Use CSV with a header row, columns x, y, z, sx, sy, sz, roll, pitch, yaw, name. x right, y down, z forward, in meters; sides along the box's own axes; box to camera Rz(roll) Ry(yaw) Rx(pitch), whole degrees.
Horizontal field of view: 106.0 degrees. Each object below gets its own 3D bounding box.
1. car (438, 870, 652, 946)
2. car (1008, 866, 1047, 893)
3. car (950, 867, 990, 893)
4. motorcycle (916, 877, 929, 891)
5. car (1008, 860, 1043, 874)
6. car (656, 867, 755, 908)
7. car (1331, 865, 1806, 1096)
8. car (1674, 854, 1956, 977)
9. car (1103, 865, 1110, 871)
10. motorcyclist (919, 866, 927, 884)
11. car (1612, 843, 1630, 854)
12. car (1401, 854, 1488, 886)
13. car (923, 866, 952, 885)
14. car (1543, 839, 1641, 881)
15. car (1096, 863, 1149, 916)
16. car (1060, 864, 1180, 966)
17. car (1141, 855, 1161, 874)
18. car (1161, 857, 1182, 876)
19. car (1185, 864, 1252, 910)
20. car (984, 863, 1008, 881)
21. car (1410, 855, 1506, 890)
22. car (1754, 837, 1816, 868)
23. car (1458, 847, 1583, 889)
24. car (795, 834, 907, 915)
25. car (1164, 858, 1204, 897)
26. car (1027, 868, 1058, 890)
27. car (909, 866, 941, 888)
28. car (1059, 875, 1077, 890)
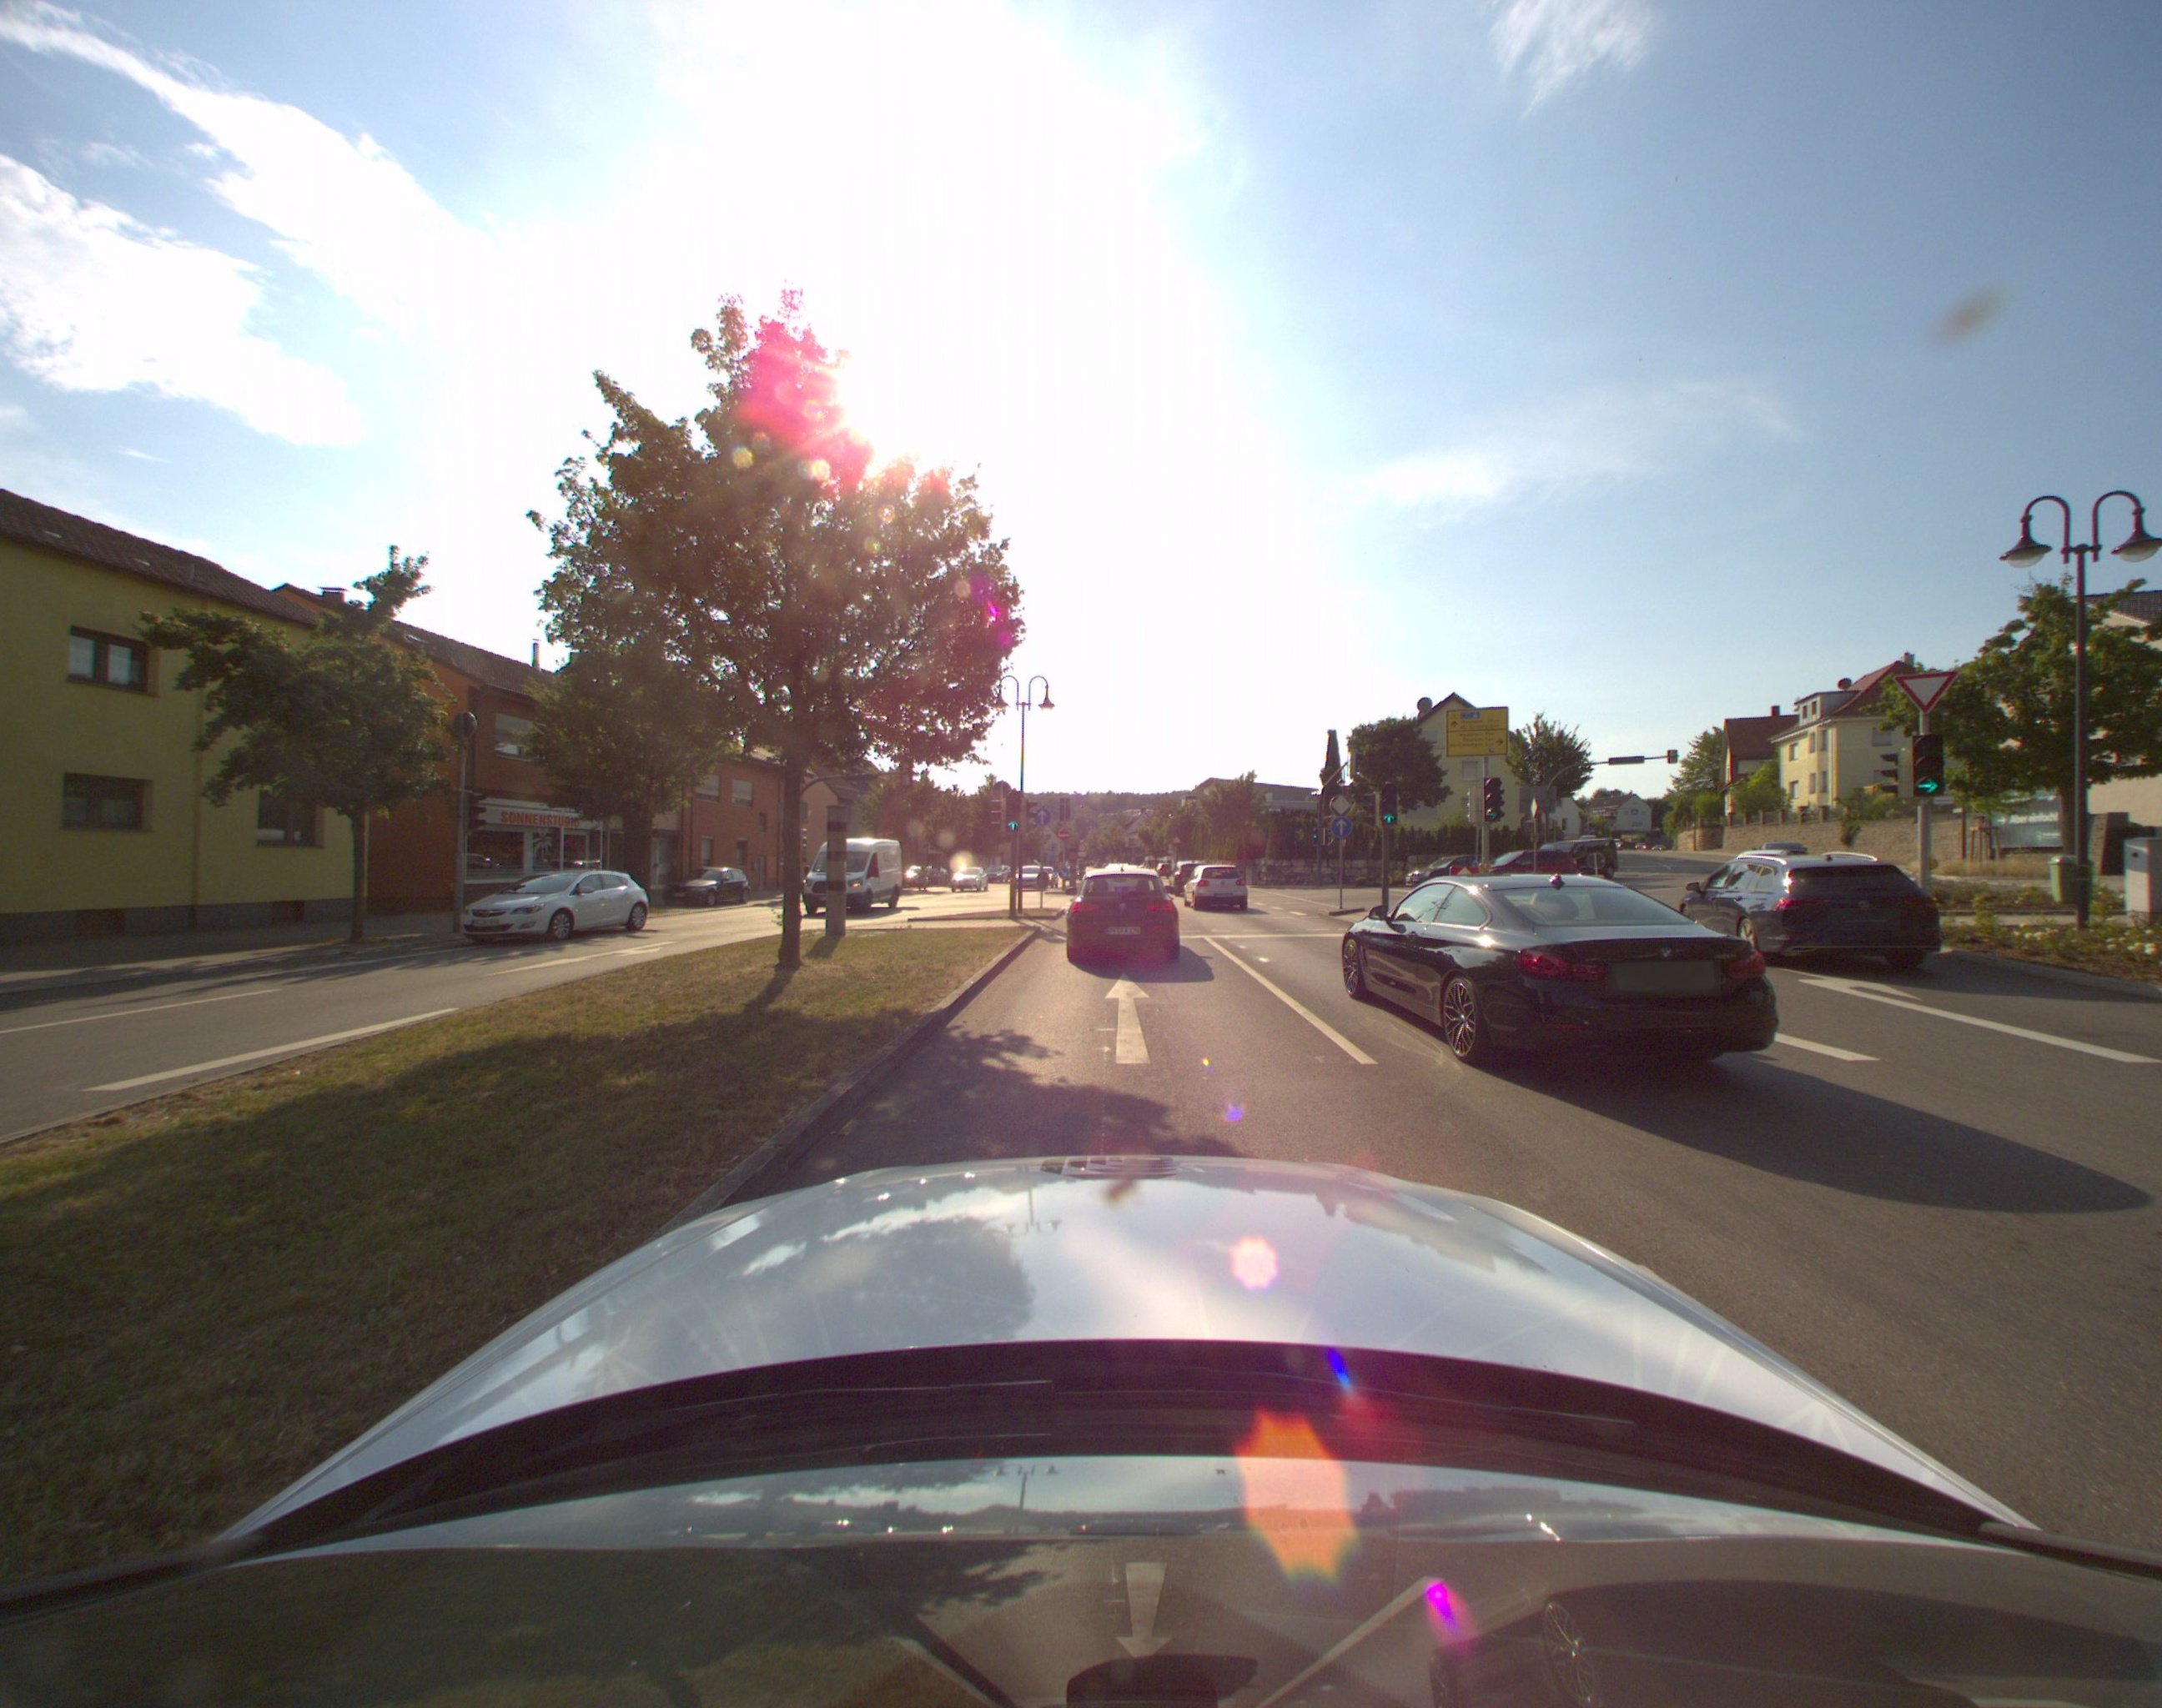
x,y,z,sx,sy,sz,roll,pitch,yaw,name
-11.443,1.079,17.803,1.684,1.414,4.217,0,0,3,car
-3.163,1.504,48.937,1.828,1.488,4.568,0,0,2,car
-6.662,1.547,49.249,1.750,1.411,4.001,0,0,2,car
-10.434,1.946,53.665,0.410,0.860,1.764,0,0,3,motorcycle
-9.945,2.342,146.490,6.138,2.445,2.249,0,-1,0,car
-14.238,1.244,31.139,1.788,1.414,3.945,0,0,3,car
3.670,0.810,7.172,1.693,1.369,4.263,-1,0,1,car
10.101,0.717,11.655,1.615,1.410,4.301,-1,0,22,car
6.566,3.569,210.929,1.592,1.485,3.473,0,0,-1,car
-10.433,1.380,53.666,0.401,1.229,0.462,0,-1,3,motorcyclist
70.514,-0.668,106.401,1.794,1.344,4.025,-1,-1,36,car
18.307,0.812,41.097,3.589,1.450,1.625,-2,-2,-2,car
-11.747,1.728,66.739,1.613,1.510,4.133,0,0,1,car
24.916,0.285,39.630,5.197,1.932,1.980,0,-1,-32,car
1.399,1.106,26.750,1.585,1.600,3.897,0,0,4,car
0.627,0.917,13.695,1.765,1.456,3.517,0,0,2,car
9.971,1.486,115.931,2.143,2.681,6.600,0,0,-1,car
12.910,1.774,116.302,2.105,2.722,6.439,0,0,-1,car
4.512,1.041,27.185,1.747,1.414,3.423,0,0,2,car
-8.102,1.711,78.324,1.679,1.612,4.415,0,-1,2,car
17.007,0.832,36.912,3.757,1.542,1.605,0,-1,16,car
32.665,-0.069,37.889,1.794,1.344,4.025,-1,-1,36,car
18.187,0.567,33.785,4.230,1.626,1.859,0,-1,-4,car
-7.649,0.647,27.736,2.076,2.476,5.482,0,0,2,car
4.820,1.065,38.461,1.596,1.767,3.413,0,0,3,car
-2.548,1.655,54.615,1.582,1.427,3.582,-1,-1,5,car
-11.641,1.689,60.849,1.506,1.510,3.886,1,0,1,car
-1.286,2.862,82.514,1.526,1.462,3.509,0,0,3,car
